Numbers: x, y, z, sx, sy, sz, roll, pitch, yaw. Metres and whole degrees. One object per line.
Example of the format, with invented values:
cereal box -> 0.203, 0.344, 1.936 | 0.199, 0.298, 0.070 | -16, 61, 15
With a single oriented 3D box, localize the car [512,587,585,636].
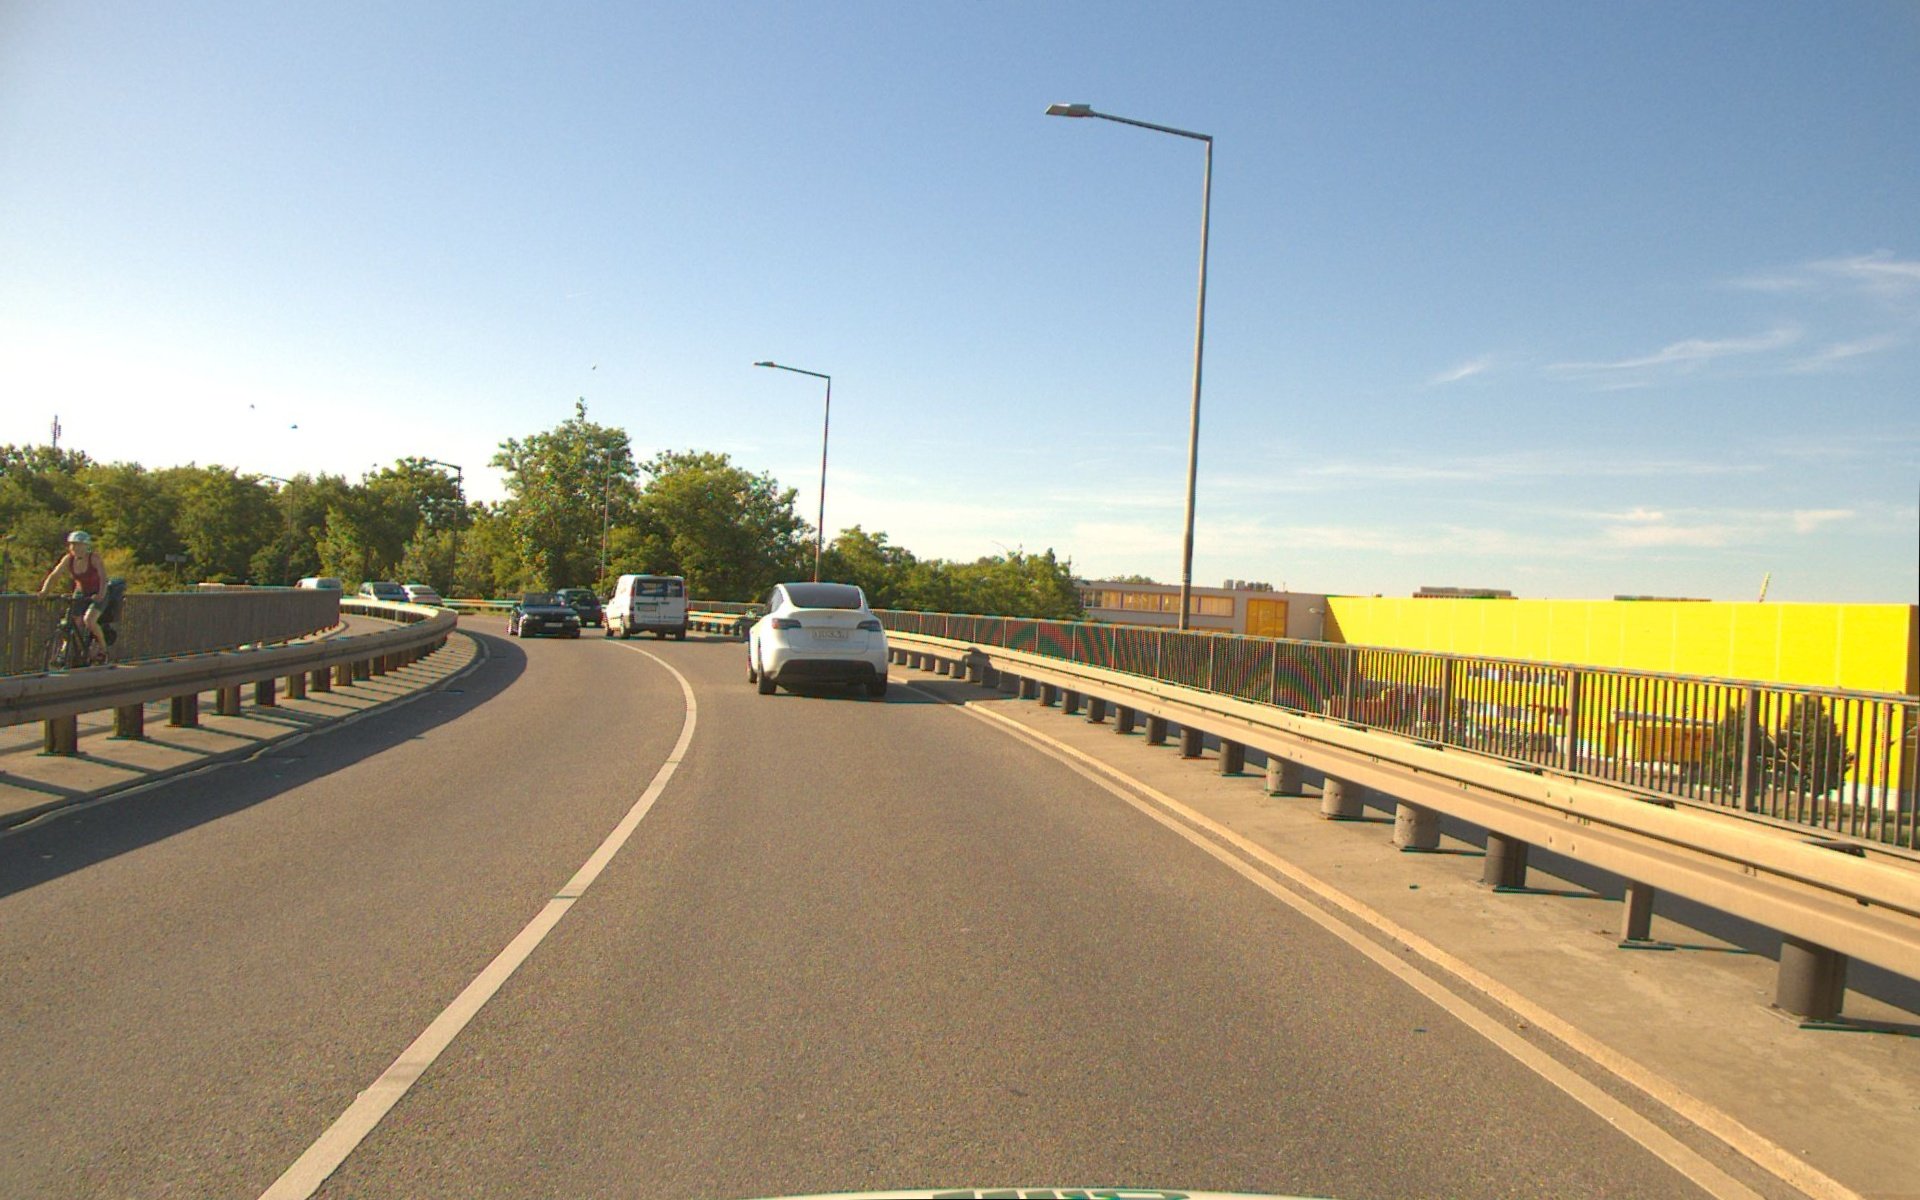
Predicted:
car -> -12.342, 0.322, 49.421 | 1.719, 1.379, 4.158 | 1, 0, -20

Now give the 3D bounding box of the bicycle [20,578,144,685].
bicycle -> -9.412, 0.316, 17.803 | 0.642, 1.083, 1.885 | 1, 0, -11

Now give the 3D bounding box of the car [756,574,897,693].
car -> -2.130, 0.472, 25.350 | 1.948, 1.666, 4.055 | 0, 0, -8

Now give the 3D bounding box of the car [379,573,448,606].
car -> -28.203, -0.559, 85.307 | 3.849, 1.612, 1.852 | 1, 0, 45

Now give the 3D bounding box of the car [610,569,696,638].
car -> -9.299, 0.088, 49.888 | 1.974, 1.974, 4.444 | 1, 0, -18

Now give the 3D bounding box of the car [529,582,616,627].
car -> -14.938, 0.163, 63.598 | 1.952, 1.666, 3.951 | 0, 0, -35

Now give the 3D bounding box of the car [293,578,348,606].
car -> -37.981, -0.476, 98.196 | 1.825, 1.583, 3.834 | 1, 0, -42

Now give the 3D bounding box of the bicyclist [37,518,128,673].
bicyclist -> -9.392, -0.050, 17.734 | 0.642, 1.617, 0.766 | 1, 0, -11

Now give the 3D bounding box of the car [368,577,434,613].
car -> -26.574, -0.252, 78.520 | 1.835, 1.651, 4.049 | 1, 0, -37
